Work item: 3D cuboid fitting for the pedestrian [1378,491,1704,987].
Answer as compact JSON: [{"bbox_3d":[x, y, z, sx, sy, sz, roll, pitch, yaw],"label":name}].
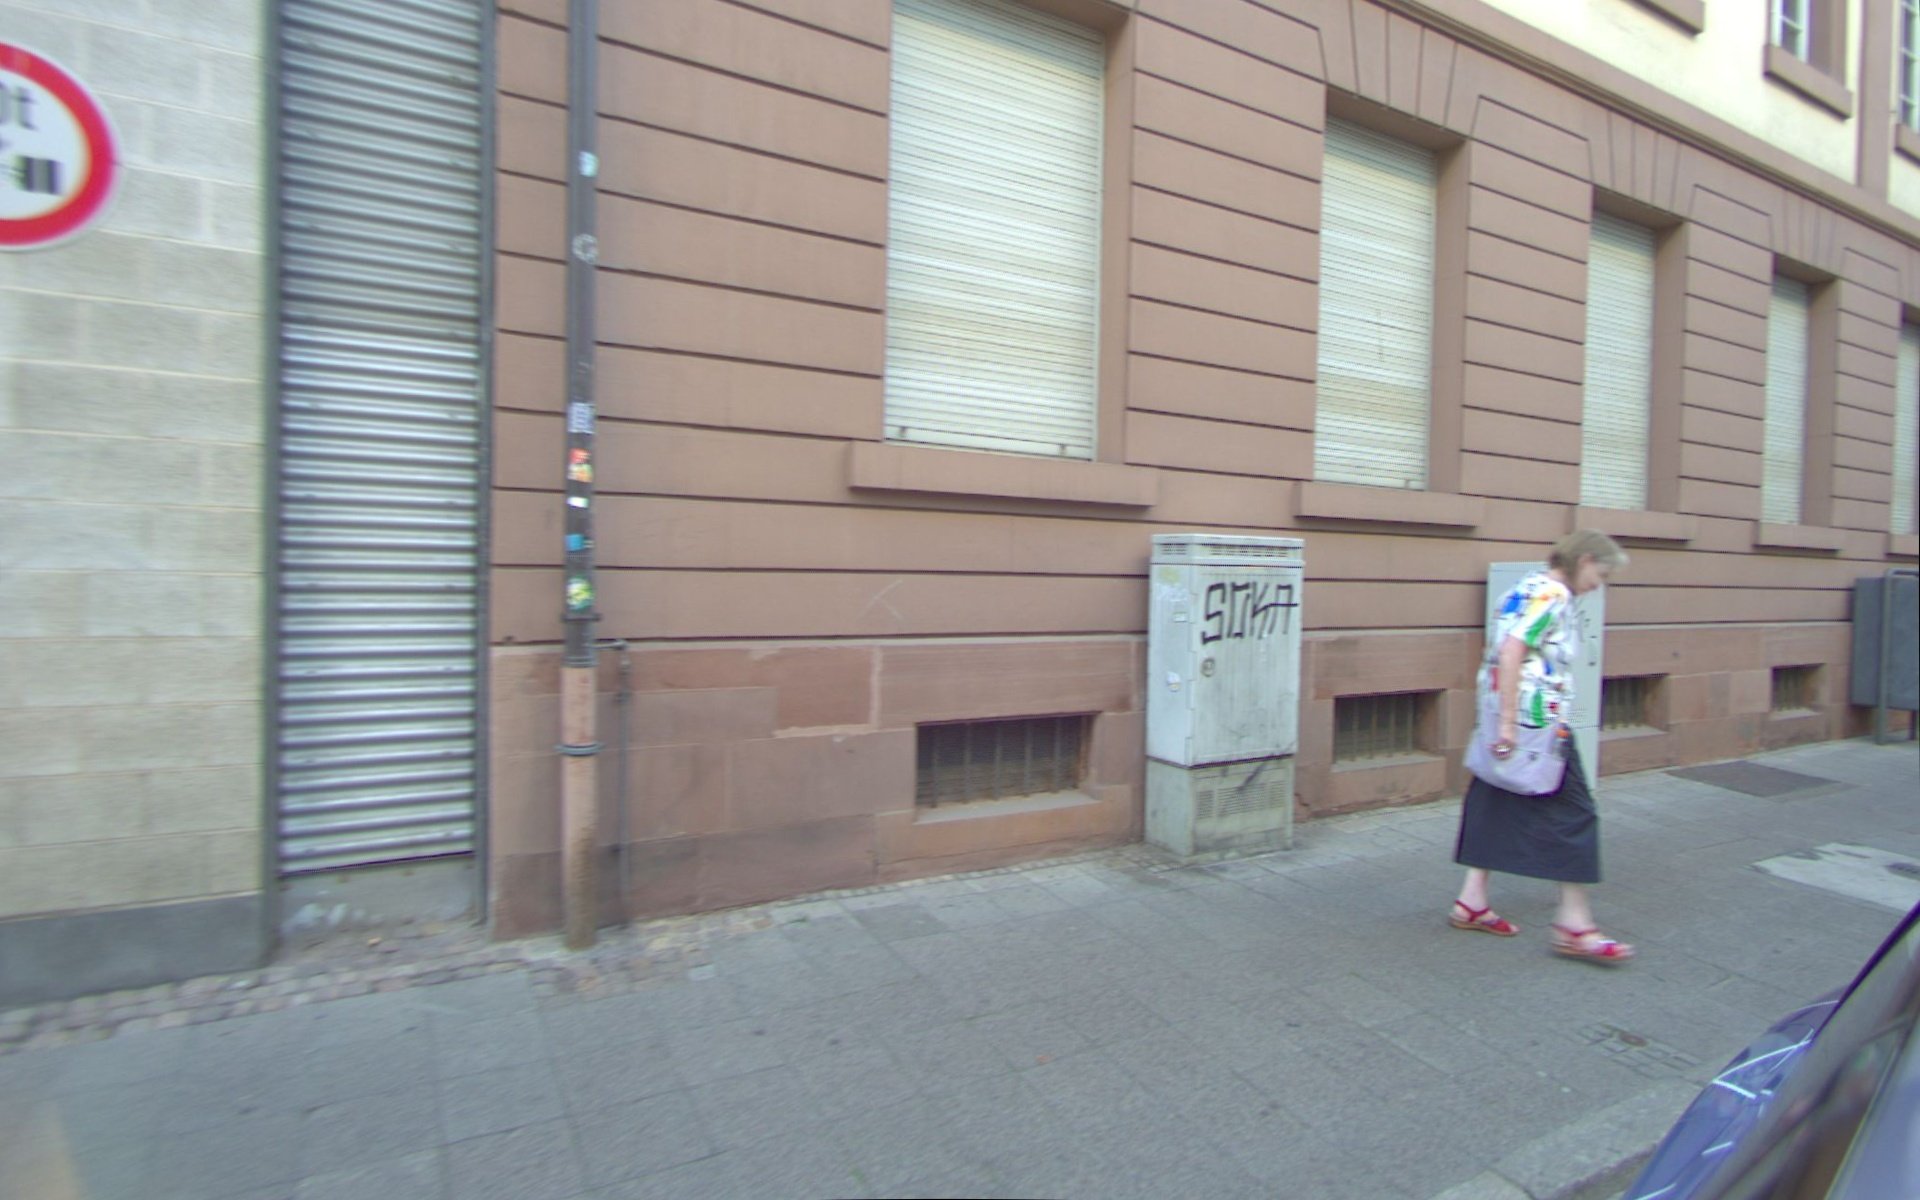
[{"bbox_3d":[2.317,0.448,4.047,0.927,1.691,0.800,3,3,42],"label":"pedestrian"}]
